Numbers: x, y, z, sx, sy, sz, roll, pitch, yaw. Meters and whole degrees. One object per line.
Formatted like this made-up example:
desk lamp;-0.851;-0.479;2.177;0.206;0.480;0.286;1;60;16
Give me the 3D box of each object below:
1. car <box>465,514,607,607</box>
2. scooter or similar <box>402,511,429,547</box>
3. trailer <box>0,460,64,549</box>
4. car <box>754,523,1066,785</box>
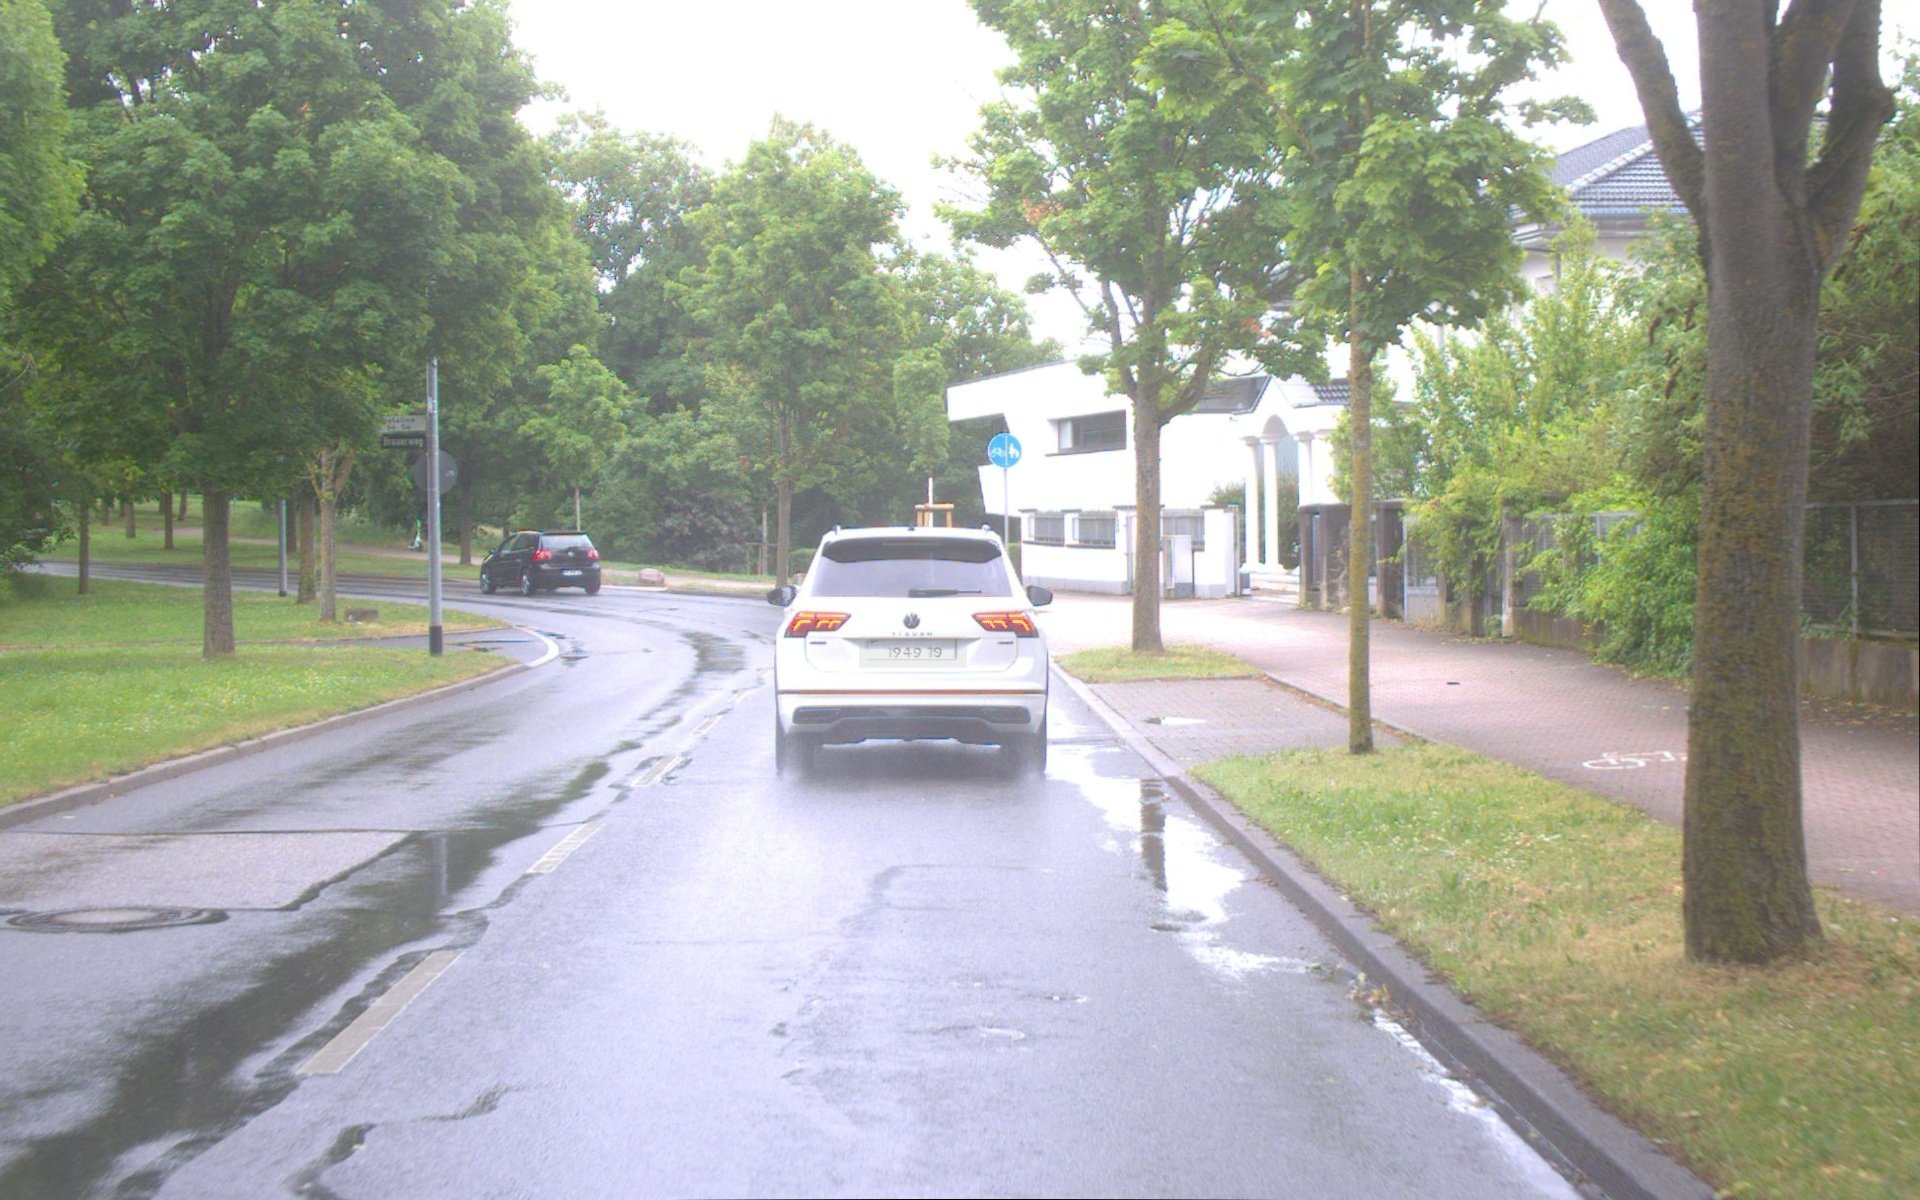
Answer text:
car;-9.697;-0.911;78.341;1.901;2.007;3.945;1;1;-28
scooter or similar;-17.993;-2.355;113.649;0.463;1.142;1.301;-3;3;-27
trailer;-32.655;-3.300;117.863;1.994;2.798;5.609;-7;6;-31
car;-0.327;0.304;24.128;1.974;1.647;4.177;1;1;0
